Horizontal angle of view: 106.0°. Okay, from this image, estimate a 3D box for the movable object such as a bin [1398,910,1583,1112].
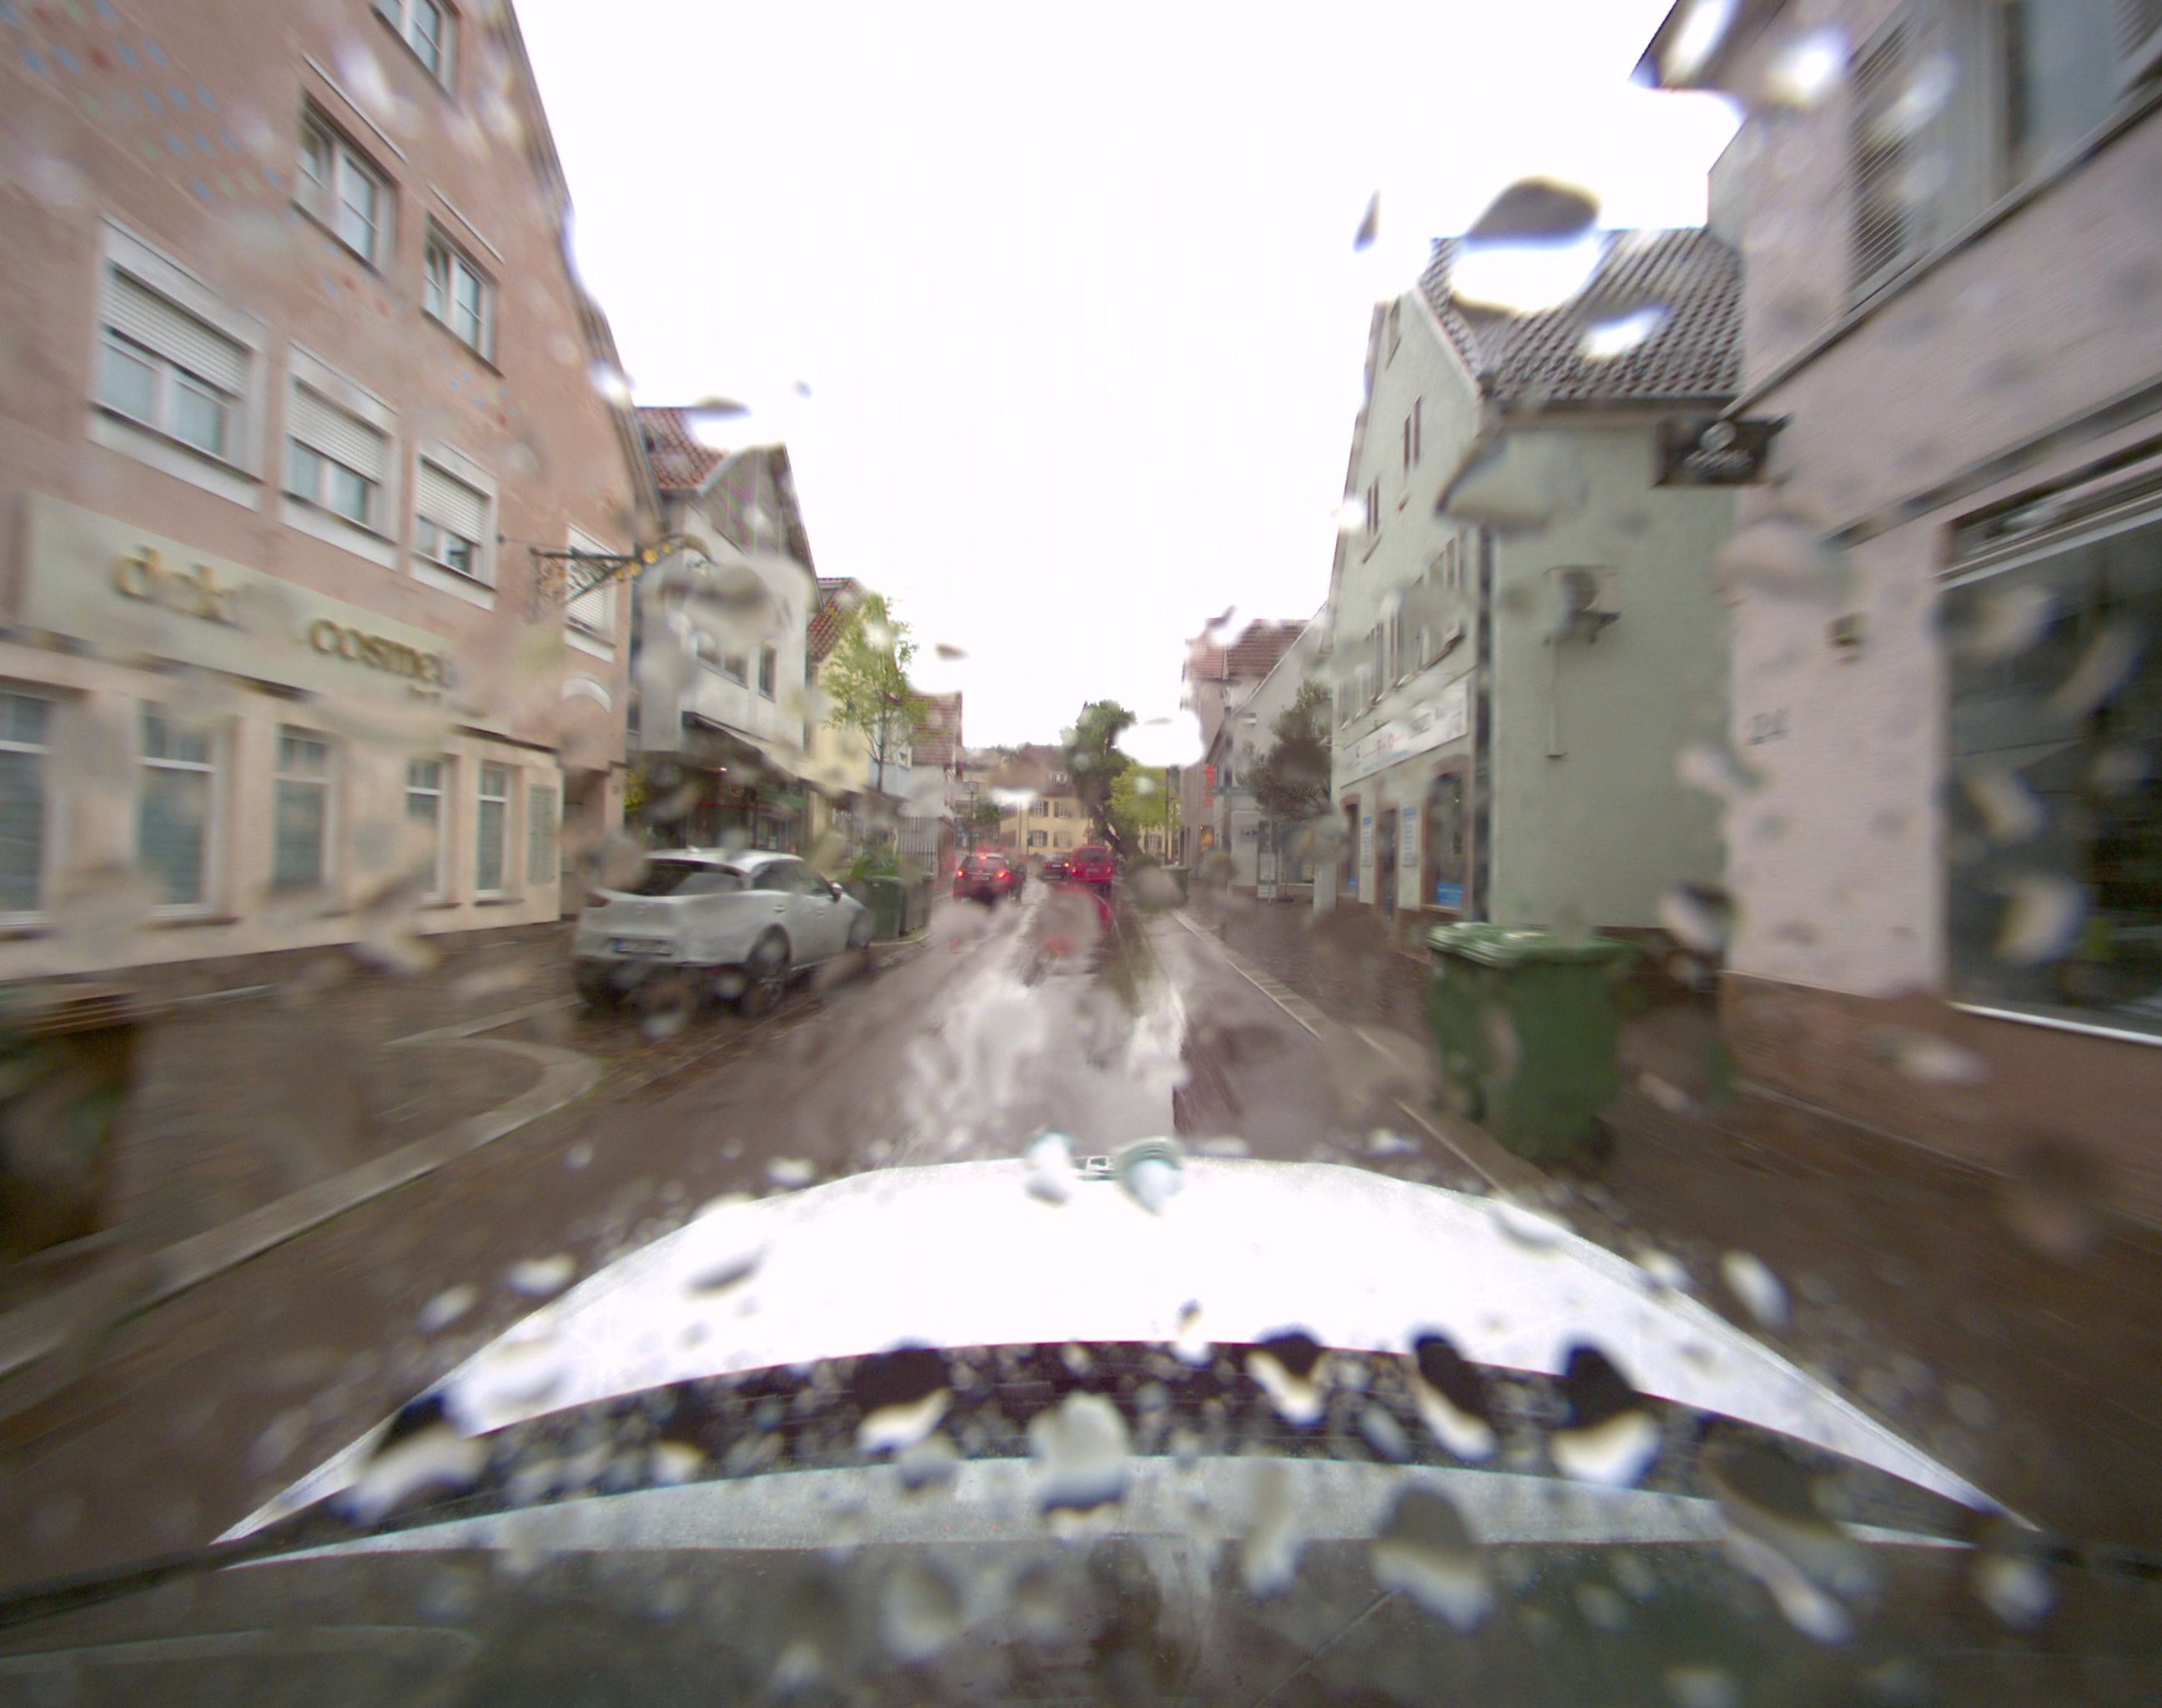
[{"bbox_3d":[2.379,0.890,4.795,0.794,1.081,0.582,1,-1,-2],"label":"movable object such as a bin"}]

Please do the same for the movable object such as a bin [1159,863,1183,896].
[{"bbox_3d":[3.133,0.880,28.359,0.733,1.098,0.611,2,-2,1],"label":"movable object such as a bin"}]

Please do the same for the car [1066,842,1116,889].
[{"bbox_3d":[0.389,0.443,35.264,1.889,1.811,3.997,3,1,-2],"label":"car"}]

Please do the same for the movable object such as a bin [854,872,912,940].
[{"bbox_3d":[-3.434,0.888,14.154,0.784,1.084,0.693,2,1,0],"label":"movable object such as a bin"}]

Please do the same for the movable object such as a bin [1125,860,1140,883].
[{"bbox_3d":[2.580,0.885,40.828,0.630,1.104,0.578,2,-2,-6],"label":"movable object such as a bin"}]

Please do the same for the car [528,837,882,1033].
[{"bbox_3d":[-3.600,0.637,8.752,1.685,1.538,4.124,2,1,3],"label":"car"}]

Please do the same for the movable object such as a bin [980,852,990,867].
[{"bbox_3d":[-7.220,0.393,61.098,0.714,1.106,0.598,2,-2,-9],"label":"movable object such as a bin"}]

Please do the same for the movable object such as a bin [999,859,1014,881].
[{"bbox_3d":[-3.829,0.817,41.724,0.725,1.110,0.595,2,-2,-6],"label":"movable object such as a bin"}]

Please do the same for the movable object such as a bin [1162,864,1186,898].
[{"bbox_3d":[3.097,0.887,27.147,0.726,1.091,0.521,2,-2,2],"label":"movable object such as a bin"}]

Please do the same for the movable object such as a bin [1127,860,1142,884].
[{"bbox_3d":[2.647,0.884,40.255,0.630,1.150,0.578,2,-2,-6],"label":"movable object such as a bin"}]

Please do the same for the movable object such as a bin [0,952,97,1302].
[{"bbox_3d":[-3.798,0.871,2.452,0.767,1.082,0.675,1,-2,-3],"label":"movable object such as a bin"}]

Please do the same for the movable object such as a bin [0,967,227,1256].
[{"bbox_3d":[-3.856,0.937,3.101,0.607,0.939,0.499,2,-2,-3],"label":"movable object such as a bin"}]

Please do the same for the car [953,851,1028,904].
[{"bbox_3d":[-2.761,0.687,25.627,1.685,1.443,3.887,2,1,2],"label":"car"}]

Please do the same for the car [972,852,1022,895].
[{"bbox_3d":[-3.241,0.707,31.560,1.754,1.473,3.937,2,1,-5],"label":"car"}]

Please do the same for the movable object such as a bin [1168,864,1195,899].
[{"bbox_3d":[3.196,0.859,25.890,0.765,1.079,0.599,2,-2,2],"label":"movable object such as a bin"}]

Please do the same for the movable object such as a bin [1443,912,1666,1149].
[{"bbox_3d":[2.384,0.860,4.171,0.790,1.081,0.614,1,-1,-2],"label":"movable object such as a bin"}]

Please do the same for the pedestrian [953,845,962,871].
[{"bbox_3d":[-8.388,0.257,55.319,0.517,1.711,0.577,2,-2,-6],"label":"pedestrian"}]

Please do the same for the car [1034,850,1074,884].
[{"bbox_3d":[-1.565,0.775,46.462,1.991,1.799,3.992,2,-2,-6],"label":"car"}]

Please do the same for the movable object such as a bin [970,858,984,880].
[{"bbox_3d":[-5.392,0.781,42.118,0.659,1.110,0.614,2,-2,-6],"label":"movable object such as a bin"}]

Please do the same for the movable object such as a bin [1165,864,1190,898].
[{"bbox_3d":[3.130,0.878,26.525,0.751,1.064,0.600,2,-2,2],"label":"movable object such as a bin"}]

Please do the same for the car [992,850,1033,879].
[{"bbox_3d":[-3.890,0.556,45.857,1.789,1.495,3.984,2,0,-12],"label":"car"}]

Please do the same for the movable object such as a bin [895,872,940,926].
[{"bbox_3d":[-3.319,0.915,16.628,0.706,1.052,0.704,2,-2,2],"label":"movable object such as a bin"}]

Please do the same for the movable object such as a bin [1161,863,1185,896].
[{"bbox_3d":[3.123,0.870,27.755,0.733,1.098,0.611,2,-2,1],"label":"movable object such as a bin"}]
